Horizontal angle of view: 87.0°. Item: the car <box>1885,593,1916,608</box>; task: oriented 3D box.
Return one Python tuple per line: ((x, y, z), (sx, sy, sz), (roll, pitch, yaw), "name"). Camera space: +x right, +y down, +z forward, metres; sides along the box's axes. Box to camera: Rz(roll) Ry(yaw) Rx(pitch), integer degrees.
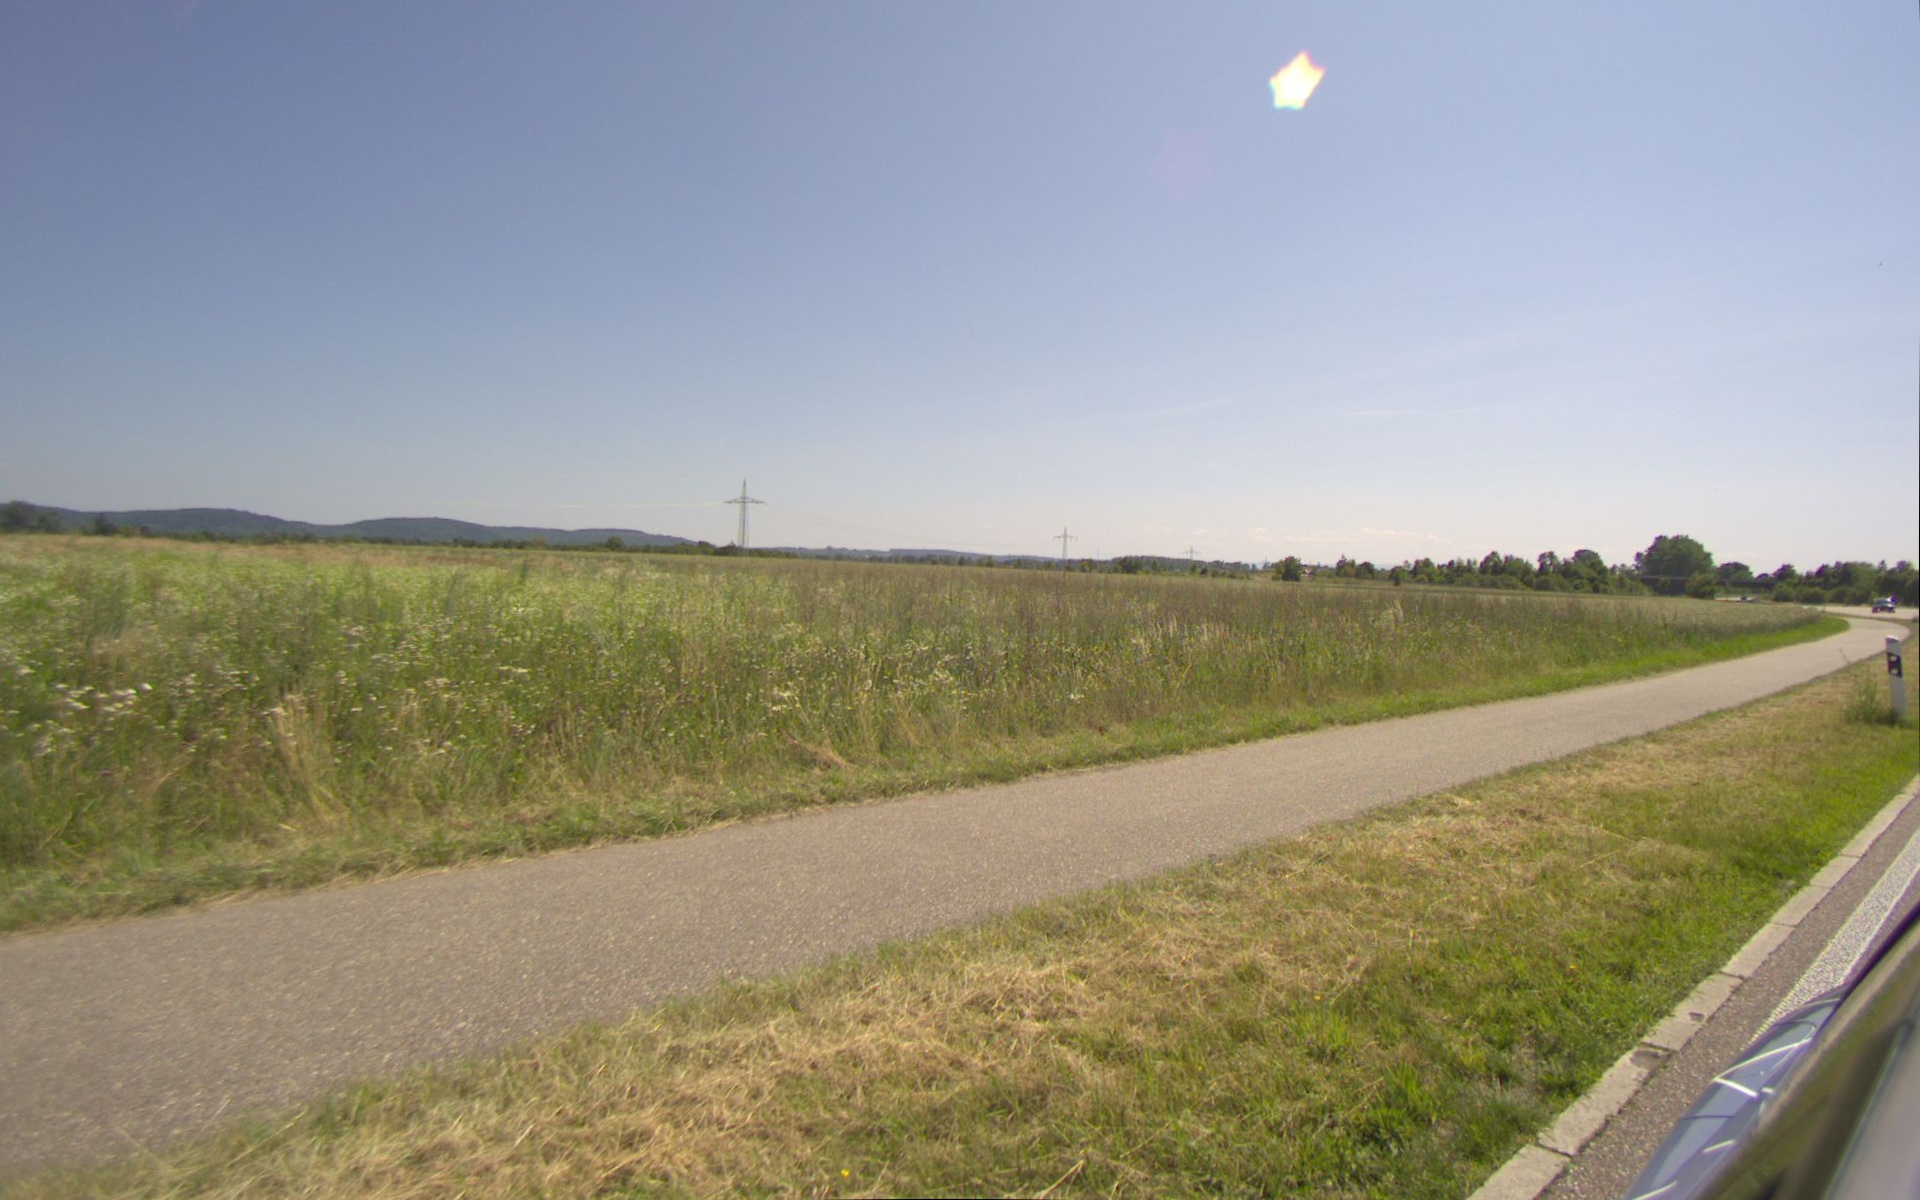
((113.791, 0.043, 122.535), (1.972, 1.616, 5.334), (1, 1, 35), "car")
